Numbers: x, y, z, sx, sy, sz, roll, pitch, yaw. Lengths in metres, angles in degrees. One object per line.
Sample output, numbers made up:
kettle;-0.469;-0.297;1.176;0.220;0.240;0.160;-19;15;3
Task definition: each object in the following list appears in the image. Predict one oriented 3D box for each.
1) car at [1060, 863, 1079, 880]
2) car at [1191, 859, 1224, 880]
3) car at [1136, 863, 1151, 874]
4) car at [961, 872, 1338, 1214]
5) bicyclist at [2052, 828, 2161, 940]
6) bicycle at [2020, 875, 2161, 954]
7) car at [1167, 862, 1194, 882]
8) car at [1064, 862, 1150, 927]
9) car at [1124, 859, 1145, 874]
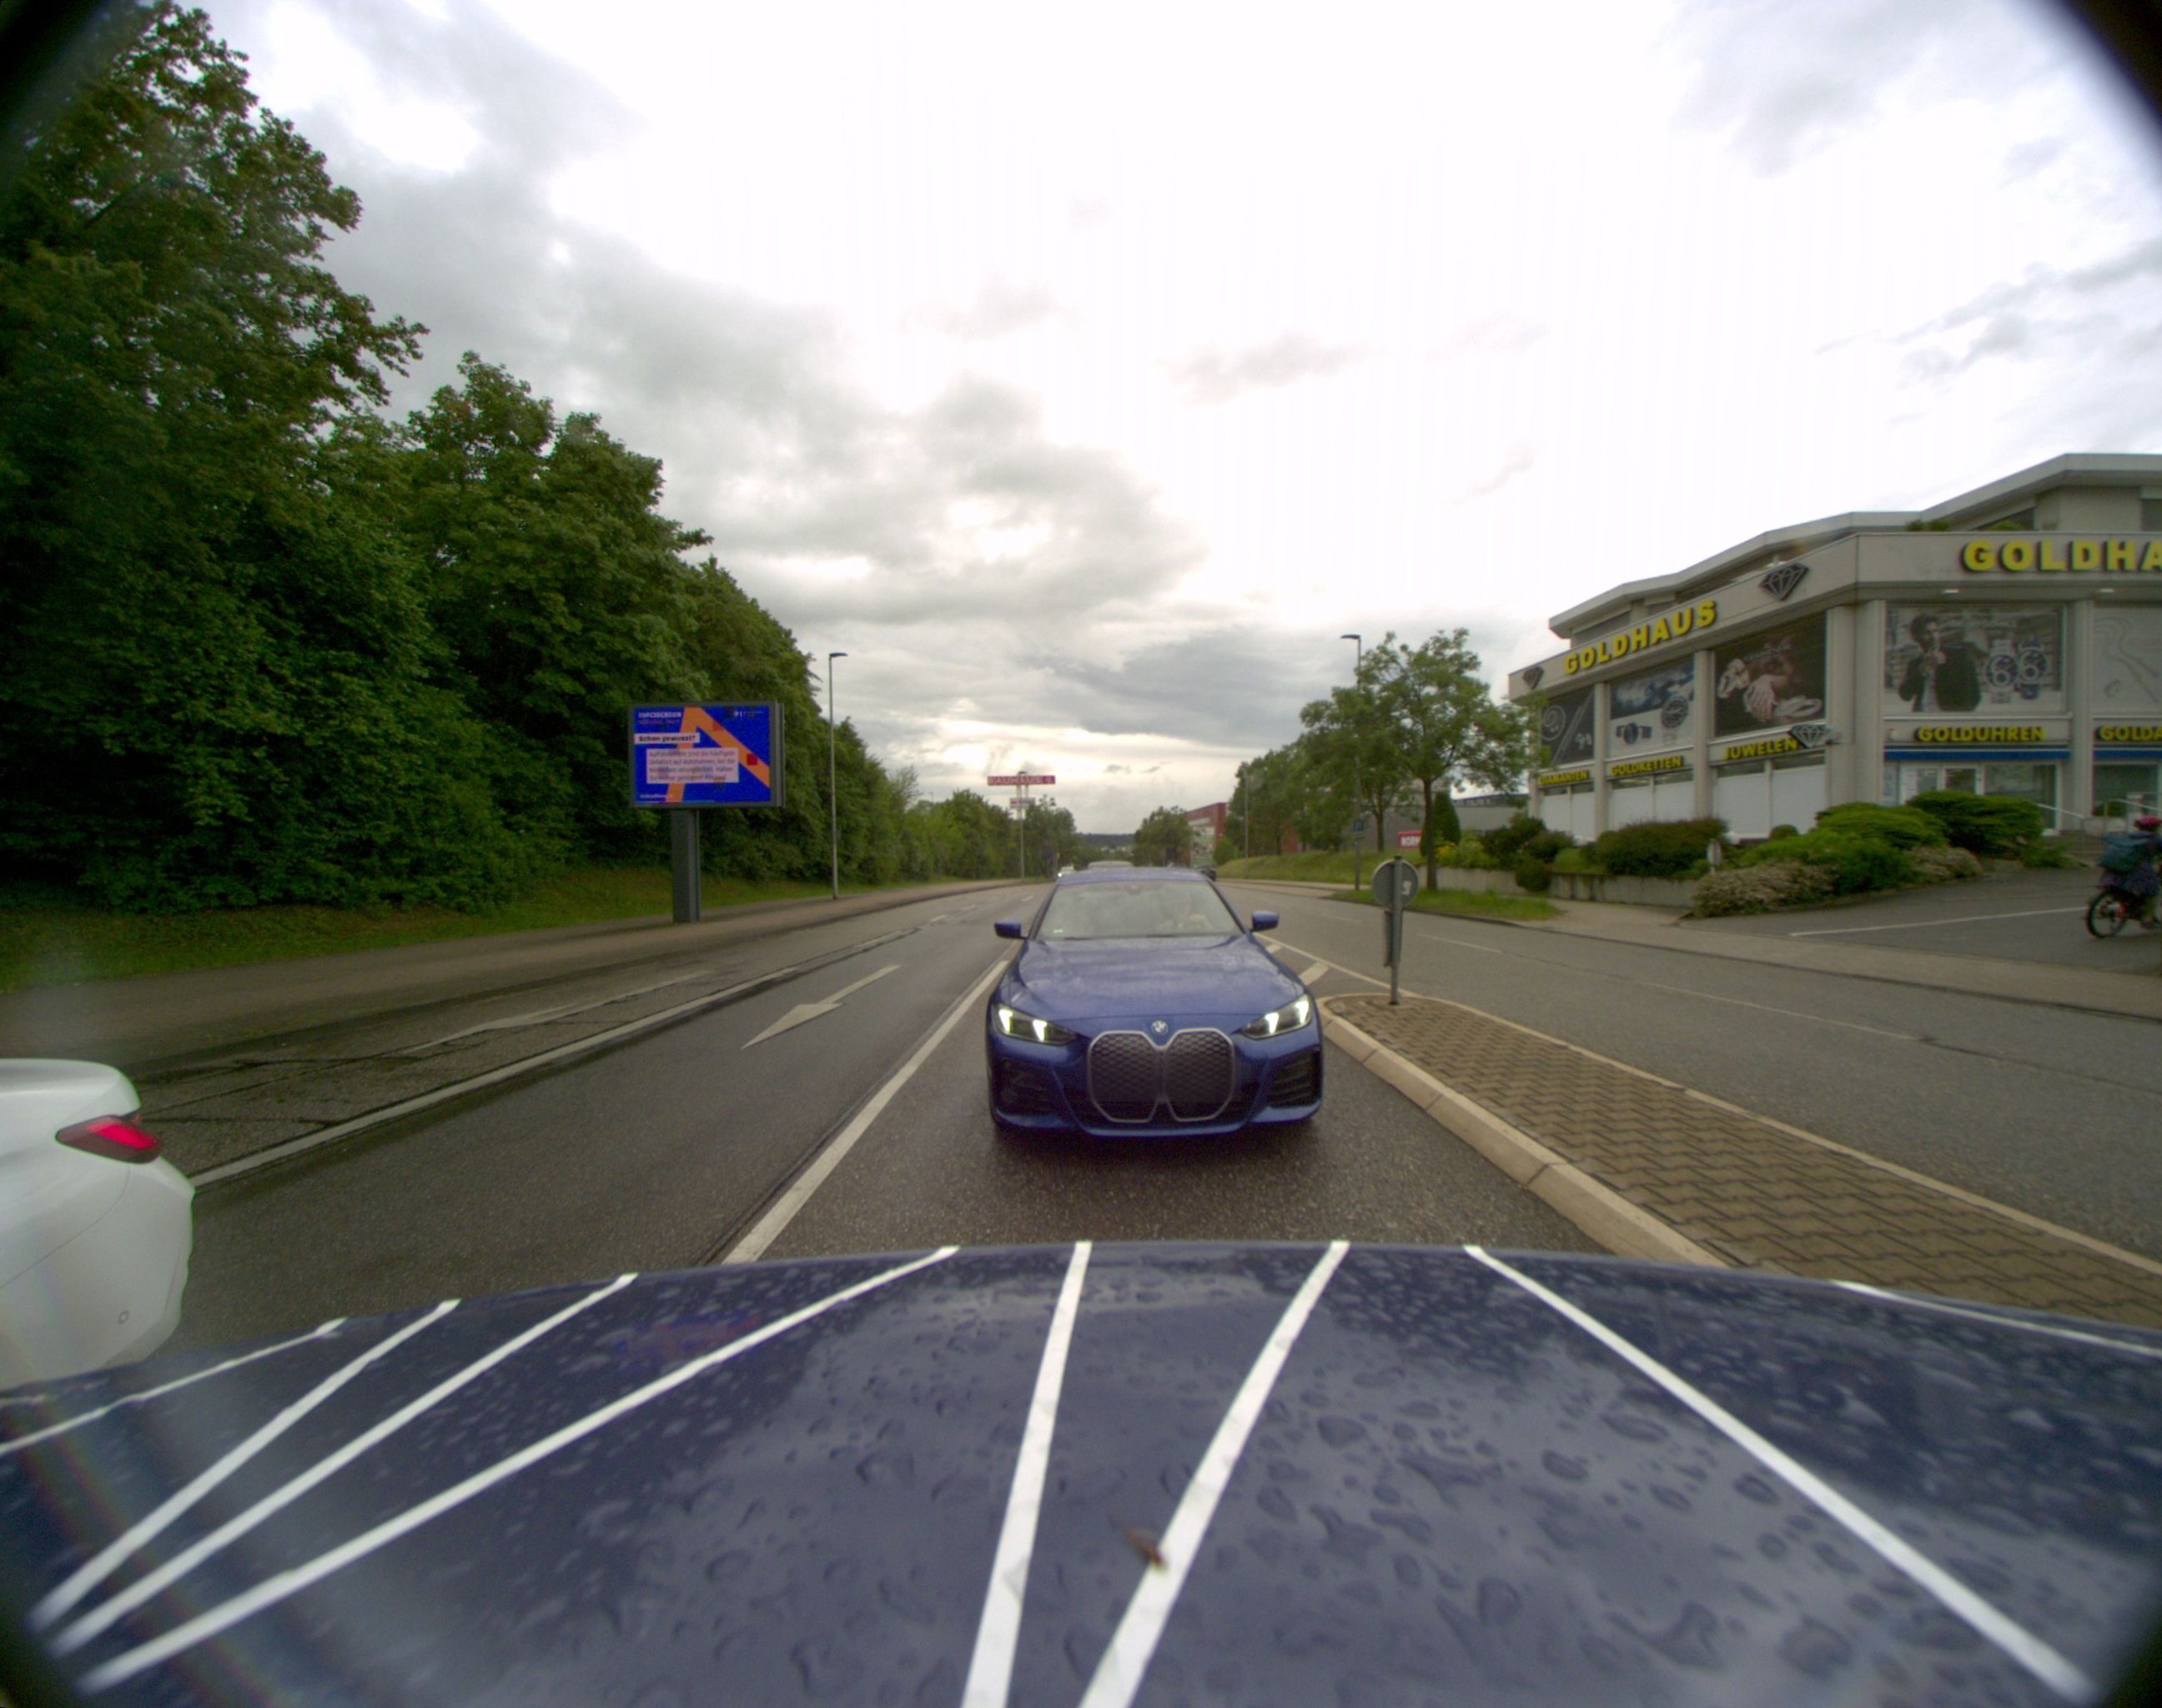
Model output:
car;-1.239;1.960;86.003;1.998;1.717;4.317;-1;0;1
car;11.544;1.423;69.750;2.350;1.879;4.546;0;-2;1
car;9.128;2.123;111.078;1.998;1.586;4.001;0;-2;1
car;0.304;0.966;5.969;1.784;1.448;4.596;-2;1;-1
bicyclist;14.909;0.395;10.767;1.027;1.434;0.910;-6;0;-1
bicycle;15.020;0.822;10.767;2.292;0.810;0.910;-6;0;-1
car;8.476;1.546;64.813;1.998;1.586;4.002;0;-2;3
car;0.695;0.992;20.224;1.998;1.455;4.369;-2;0;2
car;5.803;1.427;82.889;1.998;1.586;4.001;0;-2;1
